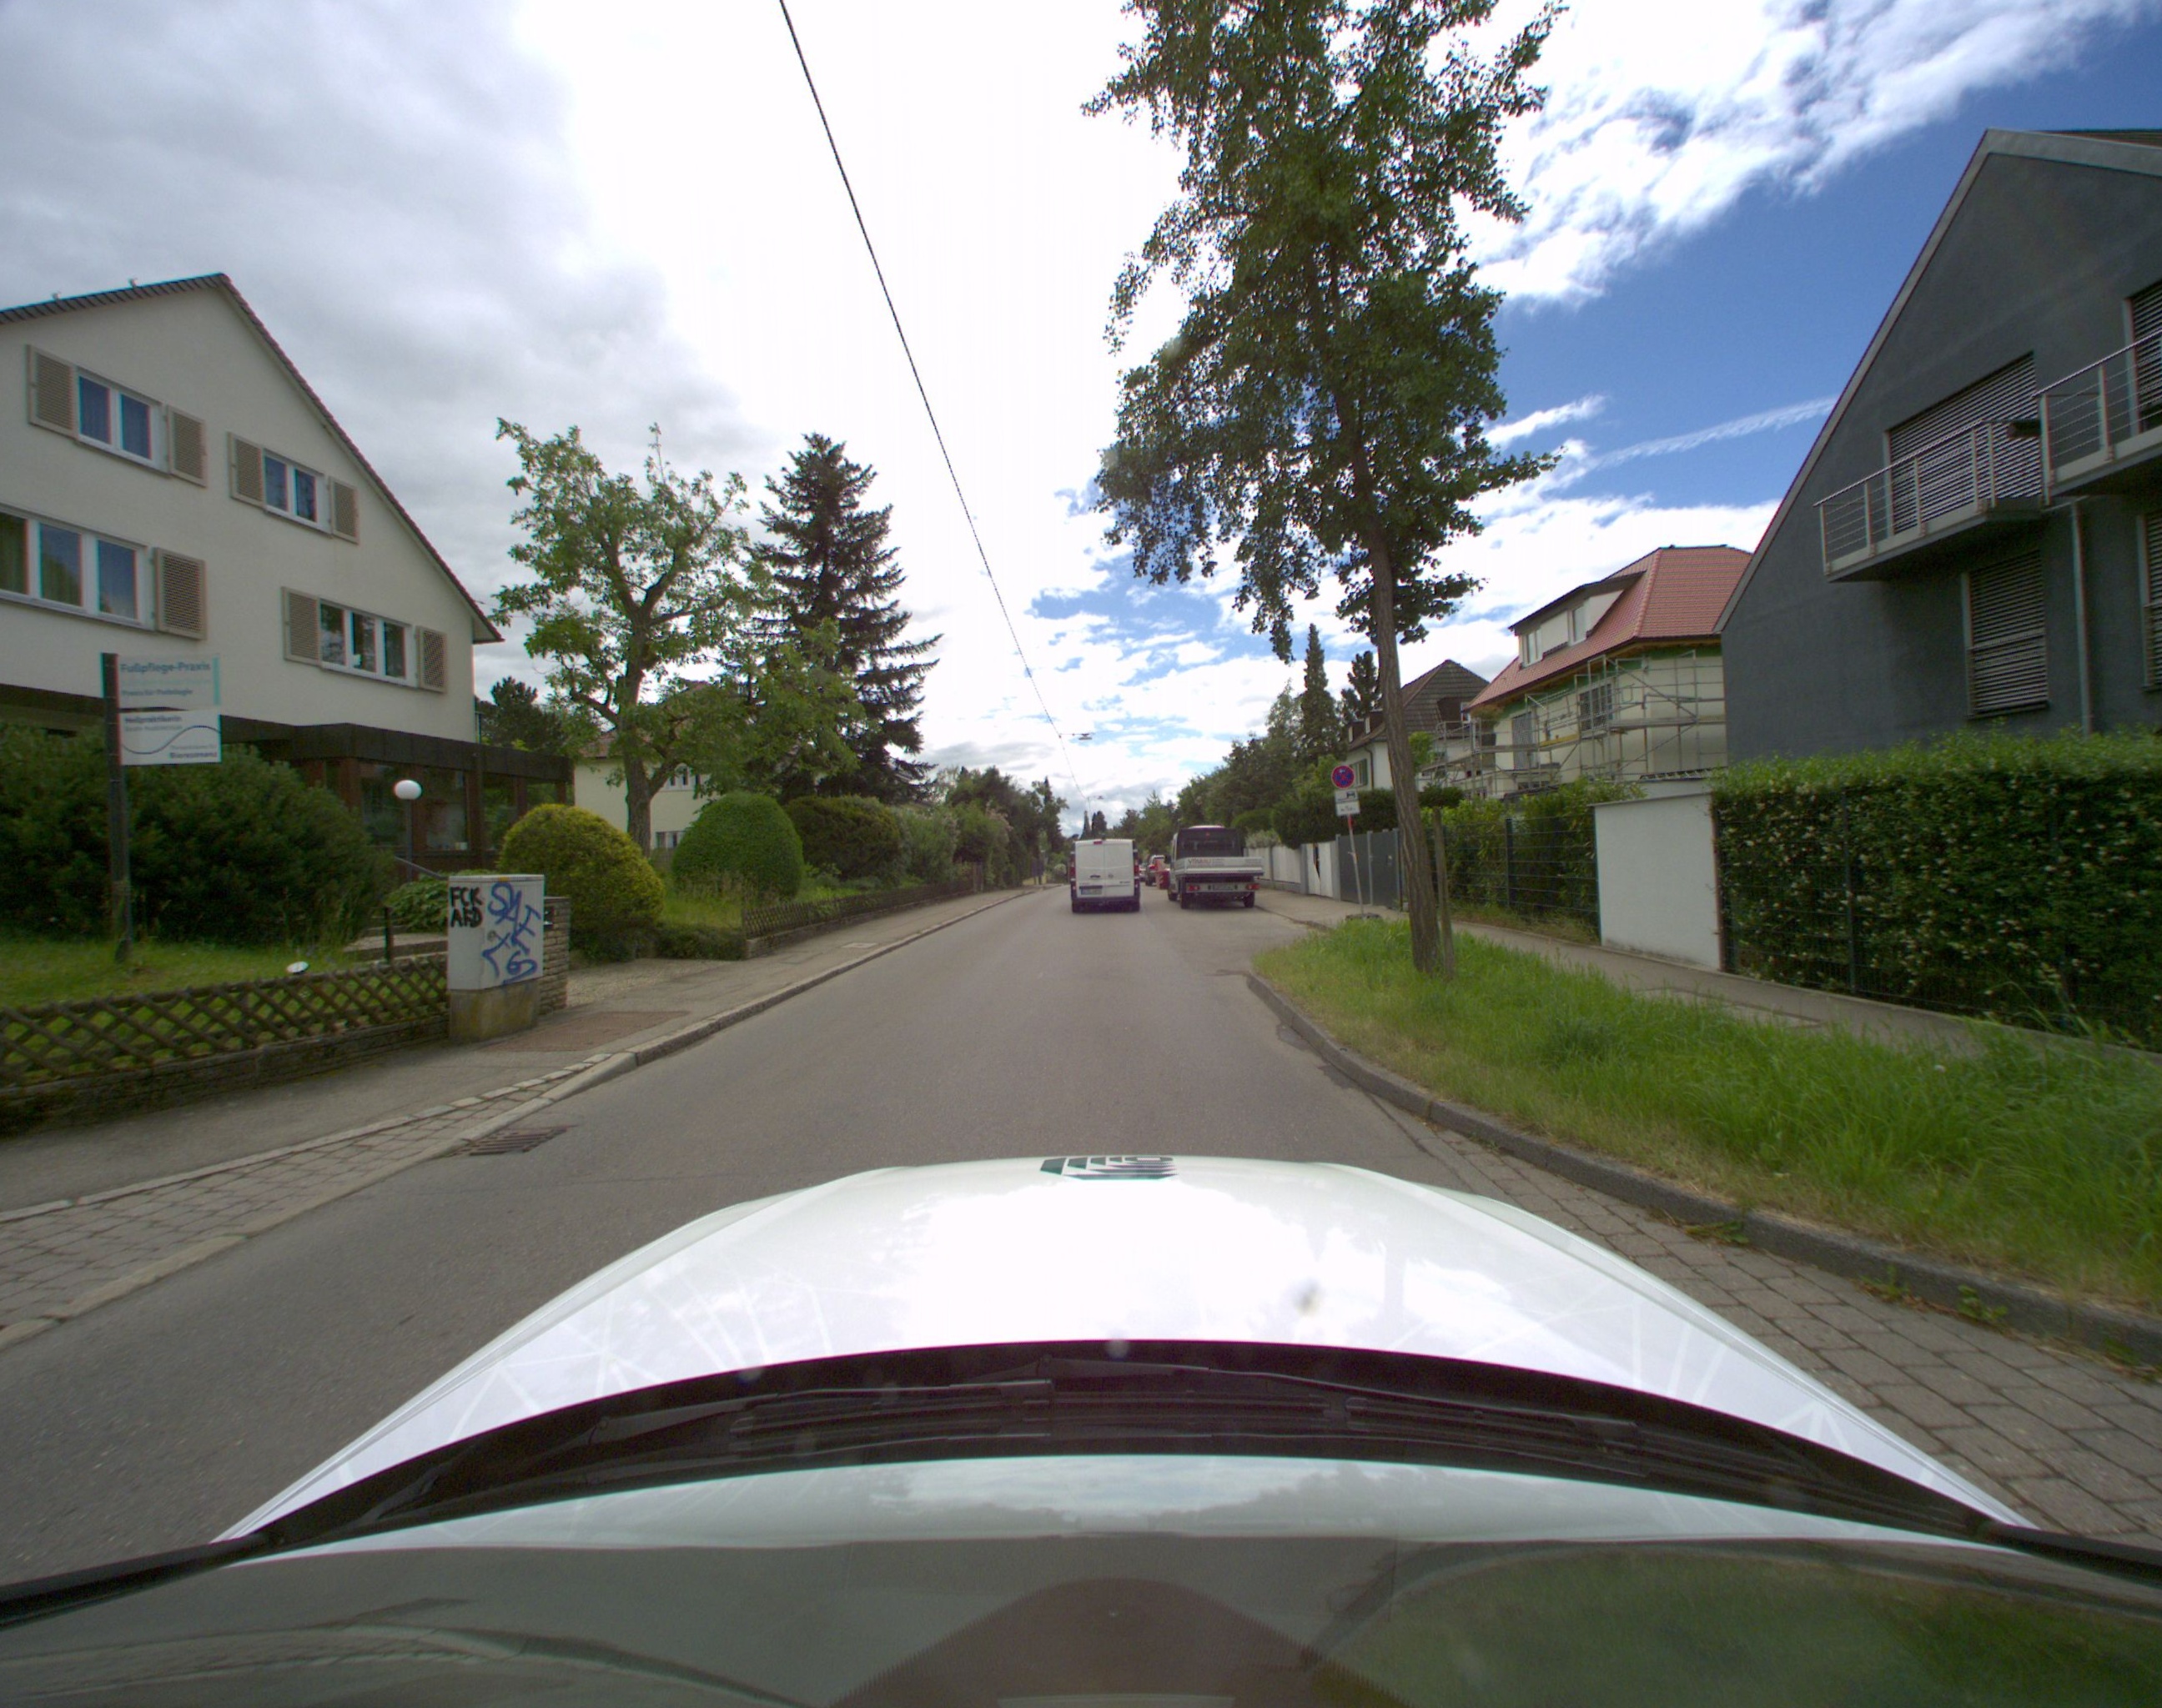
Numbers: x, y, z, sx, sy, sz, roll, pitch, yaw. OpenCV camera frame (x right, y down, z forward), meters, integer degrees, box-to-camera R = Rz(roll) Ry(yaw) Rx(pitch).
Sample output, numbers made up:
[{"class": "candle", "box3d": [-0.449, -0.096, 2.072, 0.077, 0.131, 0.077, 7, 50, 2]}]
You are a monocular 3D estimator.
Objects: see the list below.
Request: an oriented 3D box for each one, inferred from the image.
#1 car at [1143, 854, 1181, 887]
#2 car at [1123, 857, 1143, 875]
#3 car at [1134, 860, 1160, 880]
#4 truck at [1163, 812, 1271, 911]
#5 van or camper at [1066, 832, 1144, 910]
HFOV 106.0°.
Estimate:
[{"class": "car", "box3d": [4.442, 0.905, 45.189, 1.738, 1.675, 4.185, -3, -1, 1]}, {"class": "car", "box3d": [5.166, 1.205, 80.895, 1.738, 1.629, 4.260, -3, -1, 1]}, {"class": "car", "box3d": [5.138, 1.254, 63.727, 1.738, 1.447, 4.260, -3, -1, 1]}, {"class": "truck", "box3d": [3.809, 0.216, 24.361, 2.179, 2.472, 7.433, -1, -1, 2]}, {"class": "van or camper", "box3d": [0.671, 0.503, 23.261, 1.932, 1.954, 4.765, -1, -2, 1]}]
